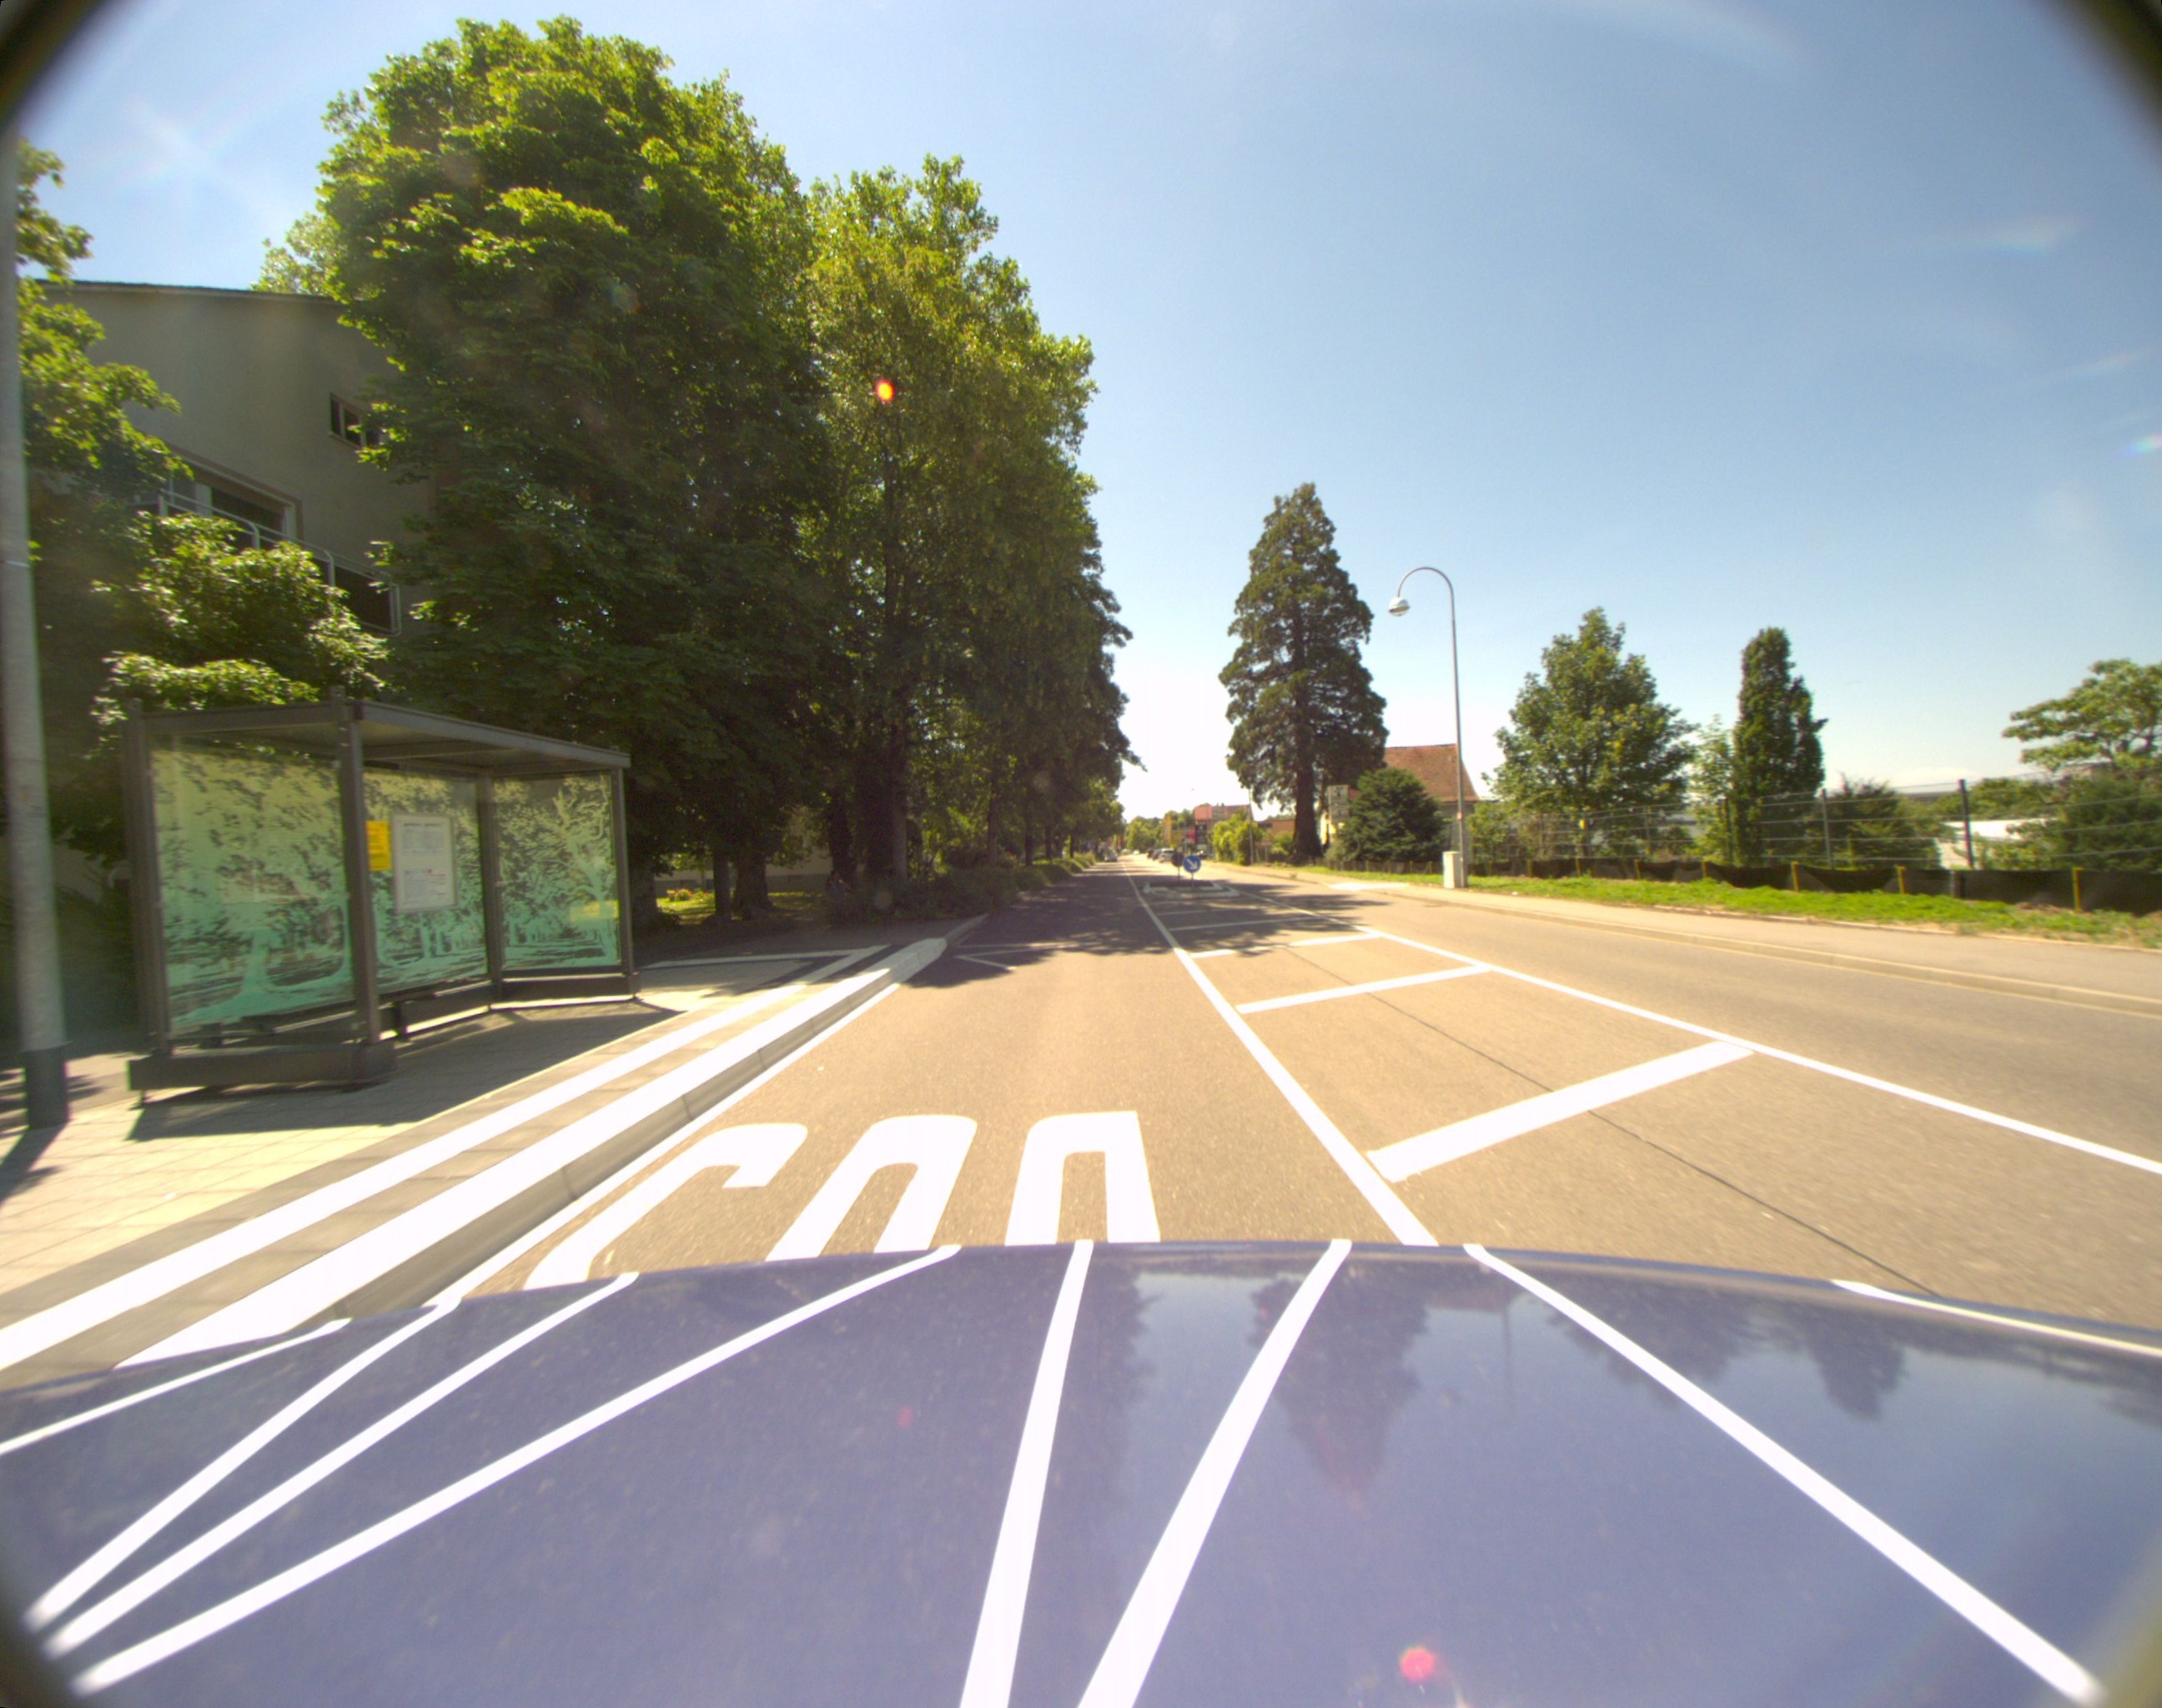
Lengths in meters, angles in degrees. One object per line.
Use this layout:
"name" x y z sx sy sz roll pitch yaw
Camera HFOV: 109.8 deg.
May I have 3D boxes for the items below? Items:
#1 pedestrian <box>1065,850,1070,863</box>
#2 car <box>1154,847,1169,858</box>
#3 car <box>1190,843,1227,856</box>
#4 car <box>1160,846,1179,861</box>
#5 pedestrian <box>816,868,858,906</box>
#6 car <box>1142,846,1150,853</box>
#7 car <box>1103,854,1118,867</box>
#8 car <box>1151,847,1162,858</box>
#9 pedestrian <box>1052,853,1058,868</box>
"pedestrian" -1.900 0.348 106.261 0.677 1.915 0.621 -3 1 3
"car" 11.723 -0.222 110.842 1.884 1.540 4.321 -2 1 2
"car" 16.231 -0.545 97.032 4.311 1.540 1.888 -2 1 21
"car" 10.187 -0.111 87.955 1.787 1.635 4.689 0 1 1
"pedestrian" -8.797 1.193 27.451 0.940 1.285 1.070 -2 1 14
"car" 15.545 -1.168 182.826 1.883 1.623 4.322 -2 1 4
"car" 4.043 0.908 102.834 1.883 1.623 4.322 -2 1 4
"car" 13.399 -0.306 135.236 1.883 1.731 4.322 -2 1 4
"pedestrian" -3.486 0.836 101.283 0.677 1.915 0.621 -3 1 3
